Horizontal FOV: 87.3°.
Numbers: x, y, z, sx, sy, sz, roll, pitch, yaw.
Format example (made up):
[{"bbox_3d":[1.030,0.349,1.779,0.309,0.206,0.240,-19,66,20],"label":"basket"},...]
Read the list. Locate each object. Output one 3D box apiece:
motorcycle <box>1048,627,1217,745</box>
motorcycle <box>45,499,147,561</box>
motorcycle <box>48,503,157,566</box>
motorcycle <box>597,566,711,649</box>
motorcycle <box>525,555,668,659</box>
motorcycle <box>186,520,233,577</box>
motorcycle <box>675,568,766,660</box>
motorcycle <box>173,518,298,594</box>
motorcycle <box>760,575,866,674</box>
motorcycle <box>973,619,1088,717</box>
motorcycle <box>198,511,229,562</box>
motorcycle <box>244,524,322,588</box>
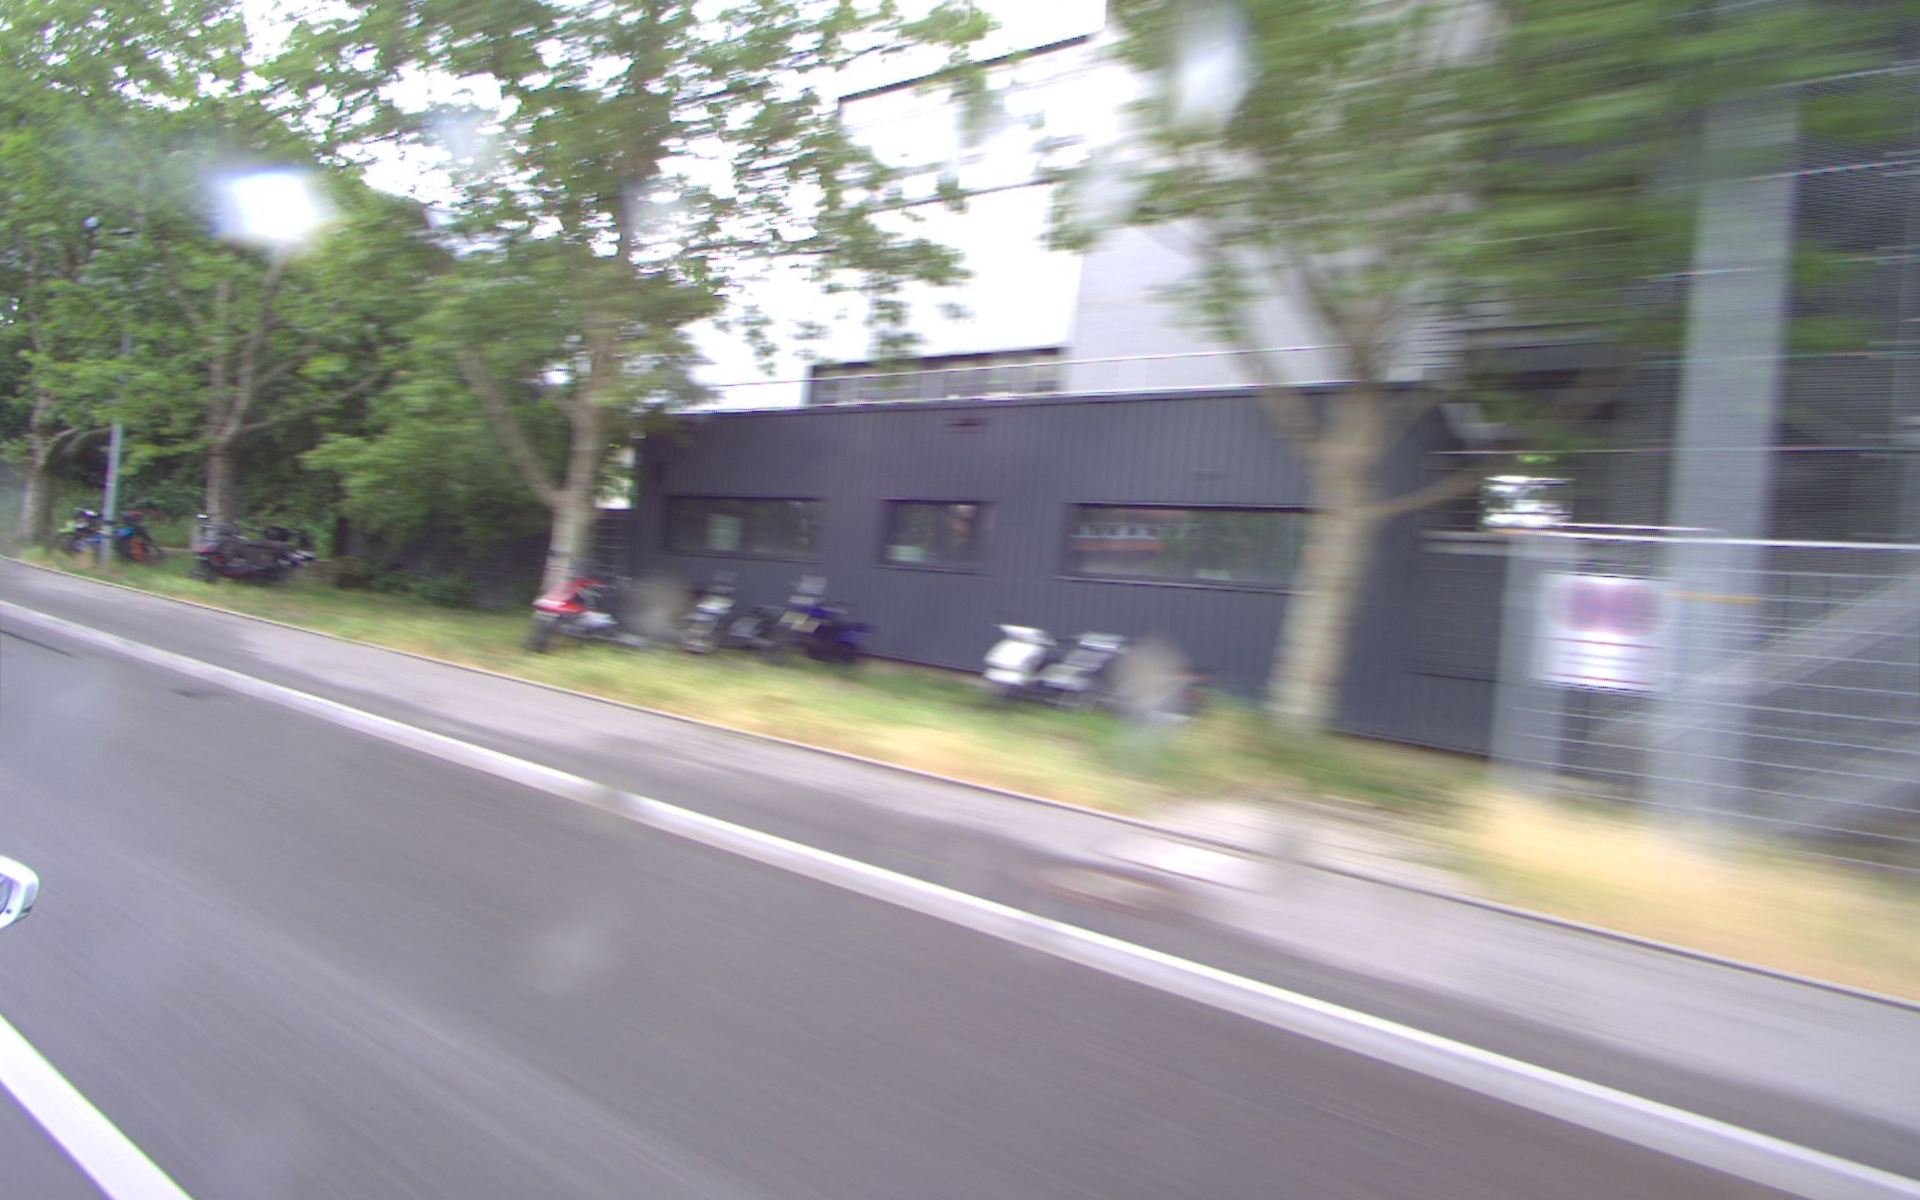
[{"bbox_3d":[2.077,1.024,12.154,1.861,1.159,0.478,7,-1,12],"label":"motorcycle"},{"bbox_3d":[-21.448,-1.734,24.994,1.821,1.268,0.629,7,1,-4],"label":"motorcycle"},{"bbox_3d":[-20.235,-1.522,23.784,0.618,1.268,1.854,7,0,16],"label":"motorcycle"},{"bbox_3d":[-5.467,0.160,18.081,0.484,1.272,1.915,6,-2,37],"label":"motorcycle"},{"bbox_3d":[-4.761,0.118,13.285,0.486,1.163,1.653,6,-2,39],"label":"motorcycle"},{"bbox_3d":[-18.376,-1.274,24.663,0.515,1.295,1.841,6,1,-27],"label":"motorcycle"},{"bbox_3d":[-3.990,0.264,16.899,0.497,1.380,1.503,6,-2,26],"label":"motorcycle"},{"bbox_3d":[-13.190,-0.773,18.387,0.512,1.206,1.854,7,0,16],"label":"motorcycle"},{"bbox_3d":[-2.278,0.426,15.852,0.497,1.380,1.934,6,-2,26],"label":"motorcycle"},{"bbox_3d":[0.973,0.934,13.531,0.552,1.159,1.637,6,-2,42],"label":"motorcycle"},{"bbox_3d":[-20.258,-1.737,27.318,0.345,1.295,2.054,6,1,-30],"label":"motorcycle"},{"bbox_3d":[-15.732,-1.032,23.367,1.958,1.295,0.646,6,1,31],"label":"motorcycle"}]
